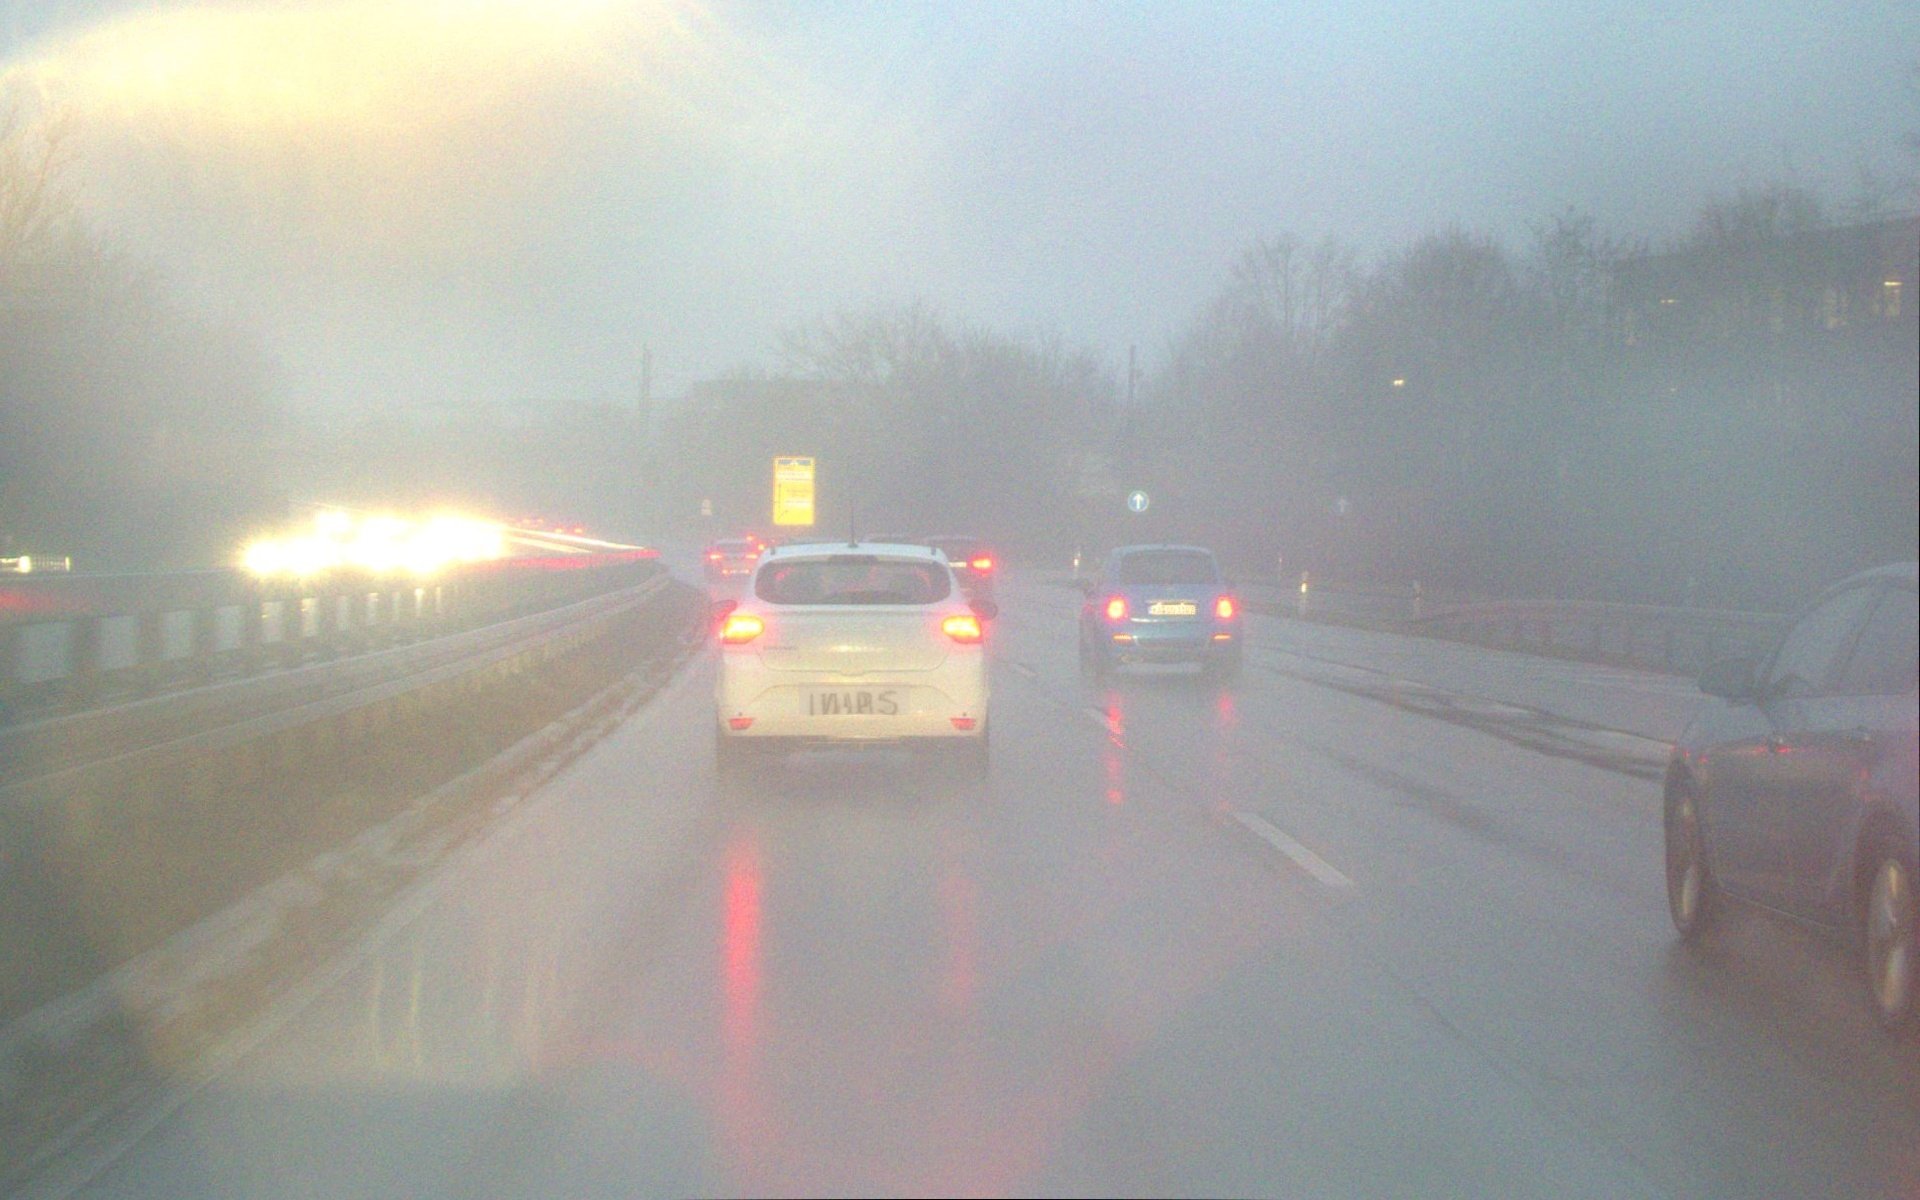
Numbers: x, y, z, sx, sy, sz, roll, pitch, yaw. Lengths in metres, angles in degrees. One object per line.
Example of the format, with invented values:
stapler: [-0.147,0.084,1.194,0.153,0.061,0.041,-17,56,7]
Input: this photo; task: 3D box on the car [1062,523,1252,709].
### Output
car: [2.205,0.142,39.434,1.932,2.012,3.774,1,1,0]

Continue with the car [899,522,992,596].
car: [-0.367,-0.977,82.117,1.932,1.541,3.774,-6,1,-2]

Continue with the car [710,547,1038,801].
car: [-0.622,0.431,23.386,2.024,1.569,4.001,0,1,-3]

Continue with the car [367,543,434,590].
car: [-18.932,-1.151,116.471,1.837,1.550,4.356,0,1,-4]

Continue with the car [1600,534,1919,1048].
car: [3.622,0.529,12.141,1.849,1.496,4.263,0,1,-1]

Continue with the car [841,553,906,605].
car: [-2.651,-0.655,105.227,1.932,1.541,3.774,0,1,-1]

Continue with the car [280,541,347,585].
car: [-23.538,-1.360,125.304,1.837,1.550,4.355,0,1,-3]
